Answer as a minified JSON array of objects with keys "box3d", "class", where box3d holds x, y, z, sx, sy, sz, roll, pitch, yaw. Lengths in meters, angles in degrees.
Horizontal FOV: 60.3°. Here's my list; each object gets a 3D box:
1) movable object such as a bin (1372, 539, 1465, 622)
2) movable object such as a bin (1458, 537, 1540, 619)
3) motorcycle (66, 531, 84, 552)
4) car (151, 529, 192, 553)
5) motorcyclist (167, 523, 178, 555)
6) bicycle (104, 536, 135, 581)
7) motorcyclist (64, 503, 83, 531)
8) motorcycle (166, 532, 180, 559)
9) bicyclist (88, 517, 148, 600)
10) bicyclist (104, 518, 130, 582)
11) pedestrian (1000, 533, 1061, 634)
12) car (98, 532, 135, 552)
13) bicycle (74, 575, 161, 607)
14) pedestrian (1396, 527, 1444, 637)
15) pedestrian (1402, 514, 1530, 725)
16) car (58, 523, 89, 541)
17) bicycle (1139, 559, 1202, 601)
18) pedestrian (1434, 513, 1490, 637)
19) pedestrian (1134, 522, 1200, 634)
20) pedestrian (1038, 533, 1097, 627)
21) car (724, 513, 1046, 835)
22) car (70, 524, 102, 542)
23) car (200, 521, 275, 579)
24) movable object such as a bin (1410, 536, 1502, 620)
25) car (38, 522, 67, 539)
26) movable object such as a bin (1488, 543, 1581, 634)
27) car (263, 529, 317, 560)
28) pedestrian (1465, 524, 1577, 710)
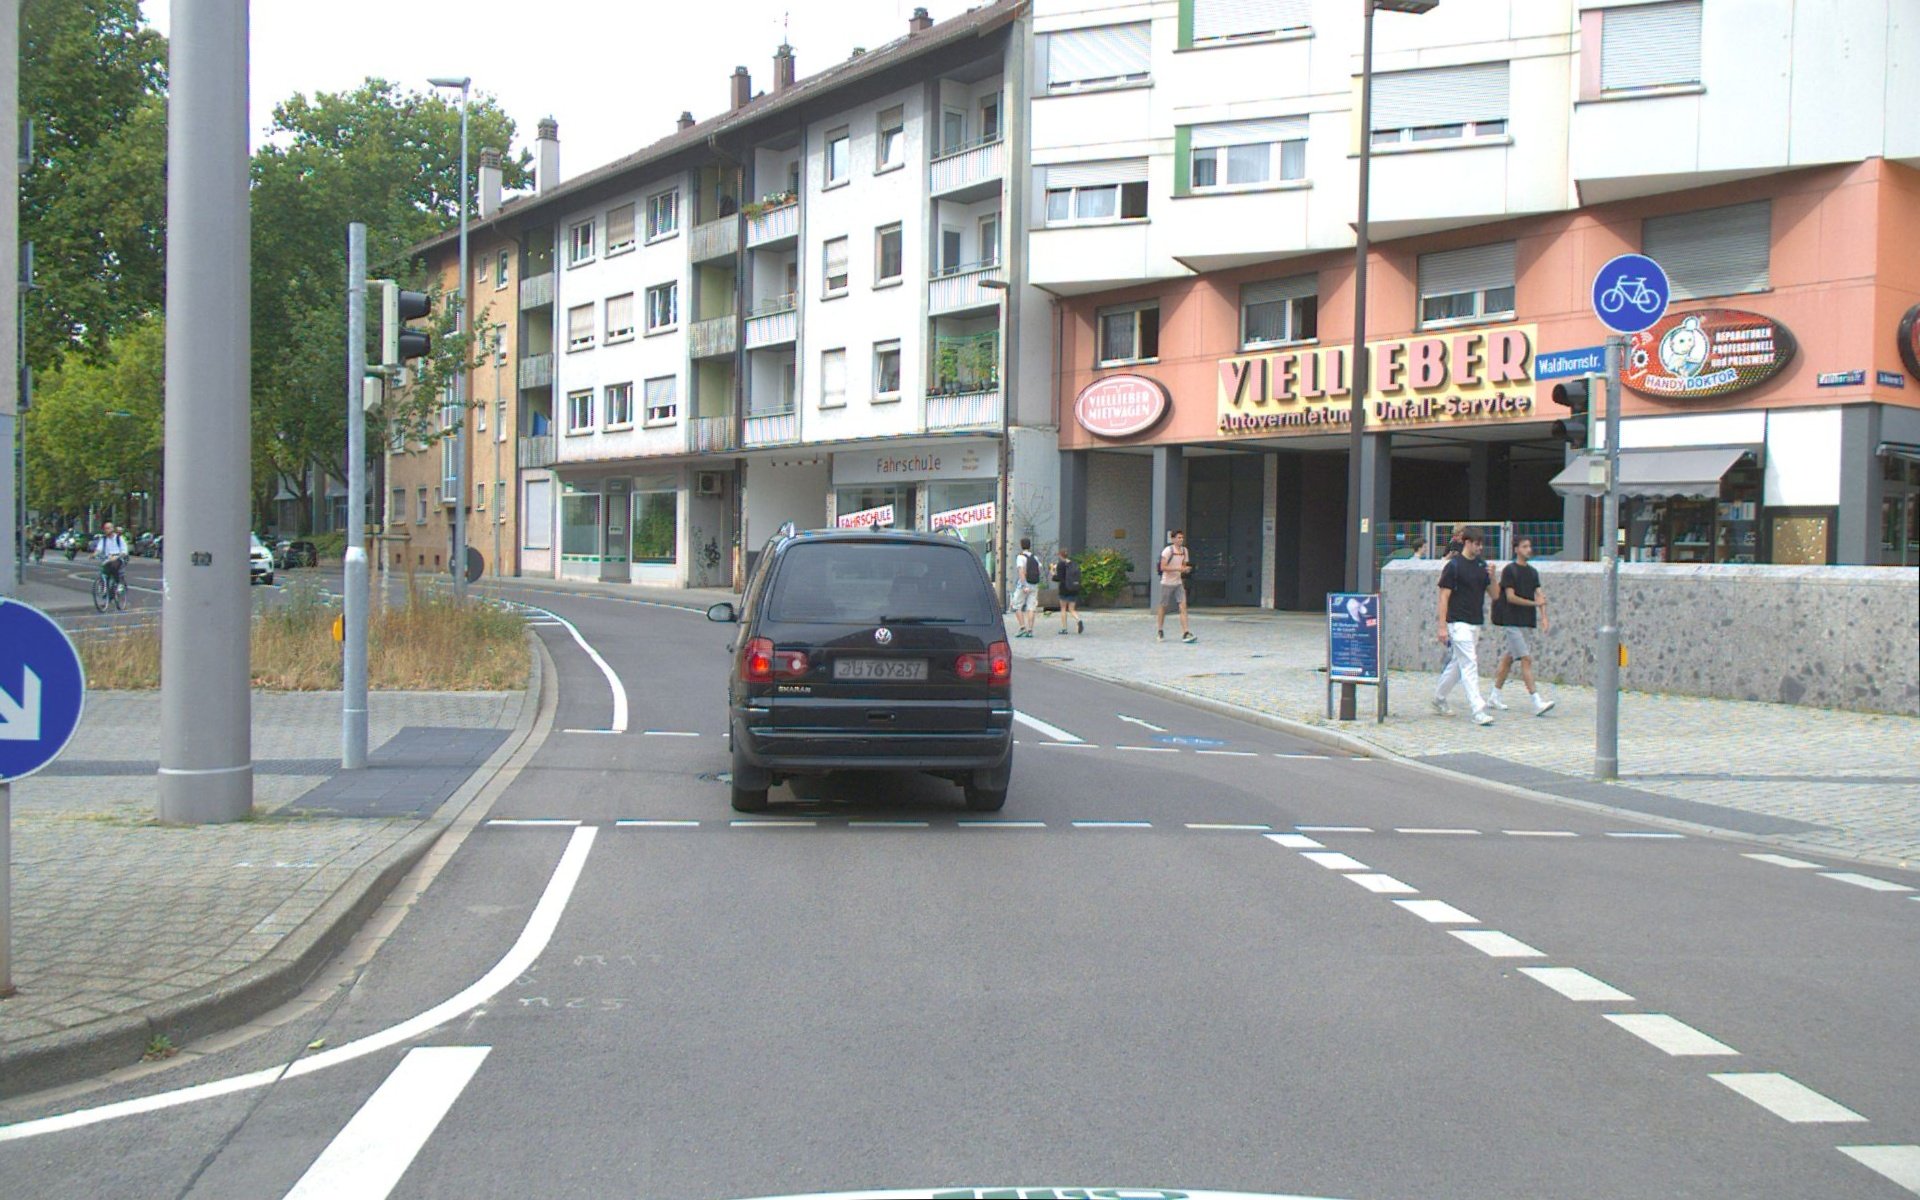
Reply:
[{"box3d":[8.488,-0.380,30.631,1.137,1.485,1.208,-1,3,-38],"class":"movable object such as a bin"},{"box3d":[10.471,-0.445,32.145,0.995,1.542,1.152,-1,3,-38],"class":"movable object such as a bin"},{"box3d":[-46.538,-3.077,86.964,0.715,1.113,2.013,0,2,-33],"class":"motorcycle"},{"box3d":[-51.082,-3.841,107.109,1.618,1.495,4.260,0,2,-37],"class":"car"},{"box3d":[-41.270,-3.197,86.715,0.443,1.675,0.513,0,2,-36],"class":"motorcyclist"},{"box3d":[-23.518,-1.166,46.261,0.508,1.246,1.543,-1,3,-37],"class":"bicycle"},{"box3d":[-46.704,-4.373,87.135,0.789,1.485,0.855,-3,3,-34],"class":"motorcyclist"},{"box3d":[-41.217,-2.860,86.625,0.370,1.373,1.709,-1,2,-36],"class":"motorcycle"},{"box3d":[-17.267,-0.864,33.930,0.595,1.674,1.038,1,2,11],"class":"bicyclist"},{"box3d":[-23.592,-1.400,46.301,0.534,1.773,0.748,-1,2,-37],"class":"bicyclist"},{"box3d":[1.293,-0.327,30.501,0.743,1.780,0.851,-4,5,-28],"class":"pedestrian"},{"box3d":[-62.481,-4.310,122.509,1.664,1.418,4.402,0,2,-37],"class":"car"},{"box3d":[-17.343,-0.196,34.085,0.473,0.598,2.000,1,2,11],"class":"bicycle"},{"box3d":[7.296,-0.303,26.235,0.469,1.701,0.582,-4,4,-36],"class":"pedestrian"},{"box3d":[5.034,0.157,16.489,0.715,2.005,0.999,-4,5,-42],"class":"pedestrian"},{"box3d":[-74.514,-5.727,139.011,1.632,1.419,3.462,2,1,-40],"class":"car"},{"box3d":[4.918,-0.470,38.740,0.449,0.912,1.657,-1,4,-37],"class":"bicycle"},{"box3d":[8.058,-0.413,26.565,0.667,1.935,0.582,-4,4,-36],"class":"pedestrian"},{"box3d":[3.592,-0.390,28.728,0.650,1.884,0.960,-4,4,-33],"class":"pedestrian"},{"box3d":[2.004,-0.390,30.933,0.600,1.697,0.931,-5,5,-38],"class":"pedestrian"},{"box3d":[-0.675,0.349,11.213,1.779,1.796,3.731,1,2,-9],"class":"car"},{"box3d":[-71.366,-5.468,135.077,1.632,1.438,3.367,0,3,-40],"class":"car"},{"box3d":[-22.306,-1.577,51.007,1.811,1.688,4.286,0,3,-28],"class":"car"},{"box3d":[9.428,-0.425,31.448,1.185,1.542,1.181,-1,3,-38],"class":"movable object such as a bin"},{"box3d":[-80.388,-6.183,146.481,1.664,1.418,3.827,0,2,-37],"class":"car"},{"box3d":[10.030,-0.218,28.893,1.135,1.542,1.074,-1,2,-38],"class":"movable object such as a bin"},{"box3d":[-33.748,-2.791,83.264,1.645,1.446,3.816,-1,4,-37],"class":"car"},{"box3d":[5.763,0.148,16.997,0.671,1.830,0.873,-4,5,-42],"class":"pedestrian"}]
